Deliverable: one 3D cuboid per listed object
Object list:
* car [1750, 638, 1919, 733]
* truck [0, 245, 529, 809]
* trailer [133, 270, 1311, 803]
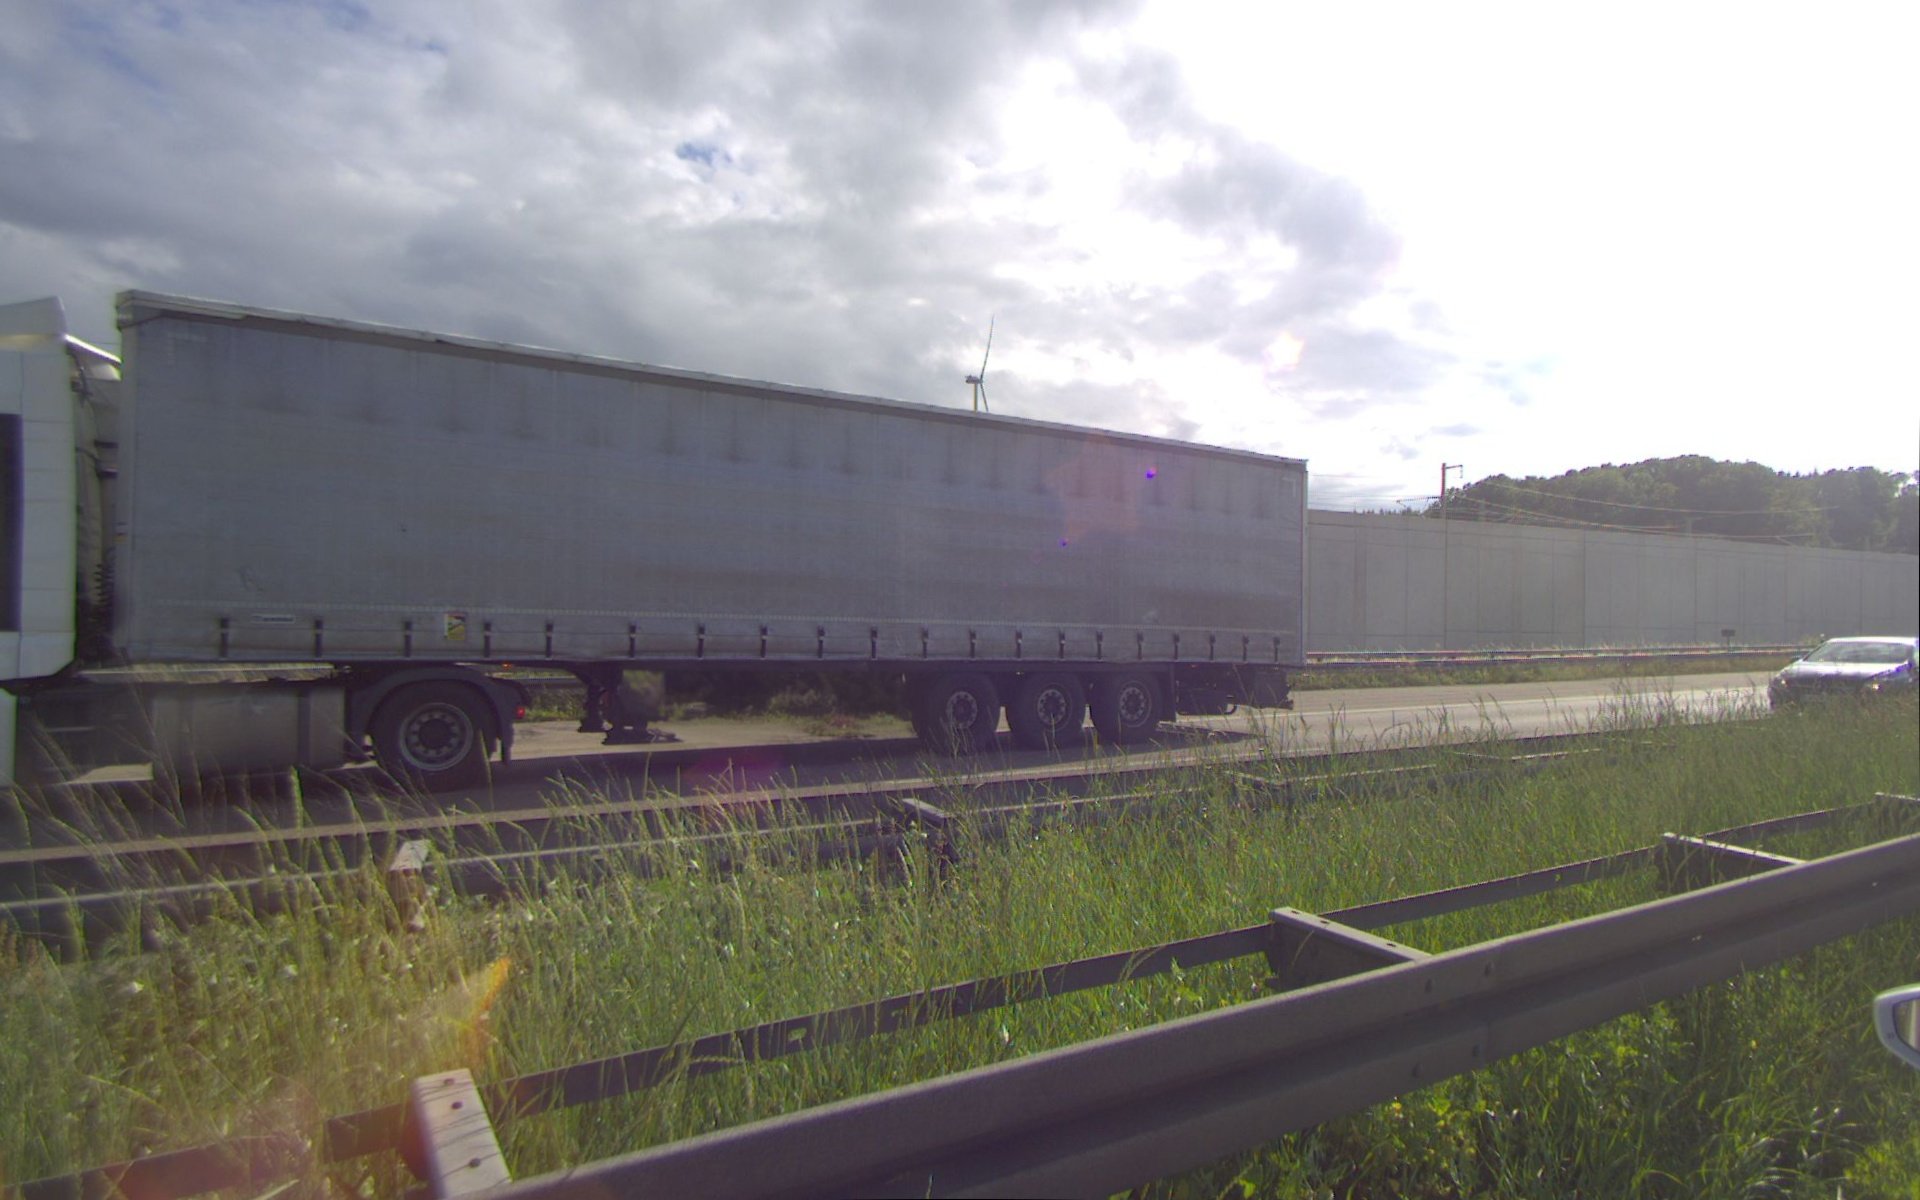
[{"bbox_3d":[15.716,1.424,17.609,3.910,1.470,1.644,2,-1,-31],"label":"car"},{"bbox_3d":[-7.007,-0.477,8.985,5.467,4.141,2.763,1,-3,-31],"label":"truck"},{"bbox_3d":[-1.299,-0.292,12.420,13.365,4.130,2.777,2,-2,-31],"label":"trailer"}]
